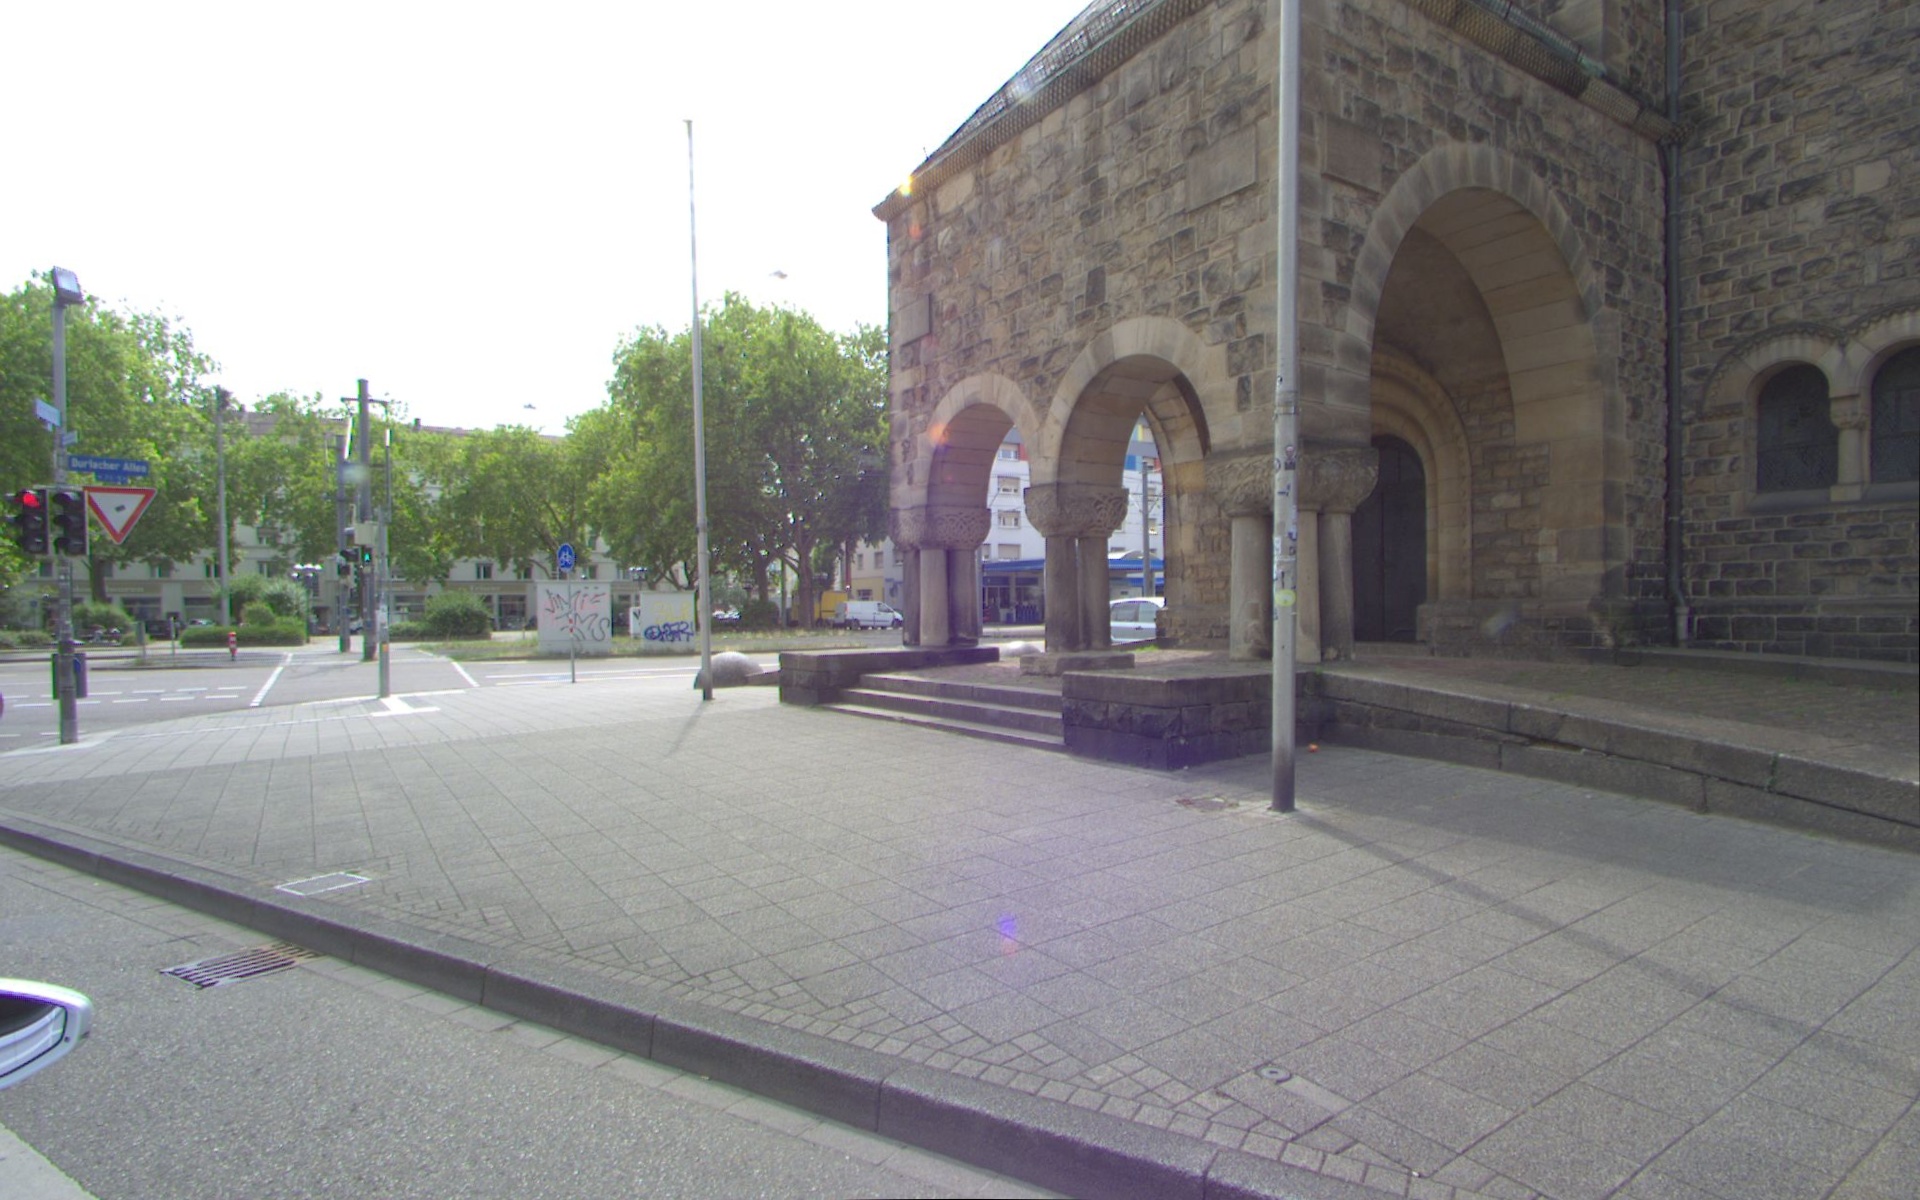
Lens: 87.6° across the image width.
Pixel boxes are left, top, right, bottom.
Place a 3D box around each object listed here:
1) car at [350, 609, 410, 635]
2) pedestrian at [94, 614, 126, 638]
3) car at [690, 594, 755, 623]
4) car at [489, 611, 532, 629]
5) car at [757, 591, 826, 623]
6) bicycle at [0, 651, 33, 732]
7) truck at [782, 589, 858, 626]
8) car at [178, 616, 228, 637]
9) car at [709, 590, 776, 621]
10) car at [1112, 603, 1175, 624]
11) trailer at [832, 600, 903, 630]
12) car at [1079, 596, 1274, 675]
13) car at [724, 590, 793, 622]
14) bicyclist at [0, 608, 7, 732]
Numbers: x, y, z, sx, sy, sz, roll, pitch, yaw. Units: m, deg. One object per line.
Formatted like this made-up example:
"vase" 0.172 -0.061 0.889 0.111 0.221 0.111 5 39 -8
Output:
"car" -44.663 1.664 77.136 3.946 1.908 1.846 -1 0 -34
"pedestrian" -48.032 1.464 56.588 1.422 1.252 1.087 -1 1 37
"car" -21.987 0.805 92.682 5.269 2.618 2.482 0 -1 -36
"car" -39.305 1.708 87.613 3.949 1.523 1.760 -1 0 37
"car" -13.965 0.578 83.261 5.269 2.618 2.165 0 -1 -36
"bicycle" -13.596 1.272 13.440 0.889 1.089 1.966 0 0 -16
"truck" -10.394 0.530 73.880 3.040 2.612 6.468 -1 0 -34
"car" -56.955 1.954 75.341 3.949 1.523 1.986 -1 0 37
"car" -19.191 0.520 88.414 5.269 2.618 2.482 0 -1 -36
"car" 13.928 1.027 76.018 4.554 1.535 1.985 0 -1 -31
"trailer" -6.235 1.020 67.627 4.377 1.951 1.843 0 0 -33
"car" 4.688 0.721 22.169 1.992 1.563 4.002 0 0 -33
"car" -17.288 0.515 86.185 5.269 2.618 2.482 0 -1 -36
"bicyclist" -13.604 0.966 13.446 0.890 1.706 0.755 0 0 -15
